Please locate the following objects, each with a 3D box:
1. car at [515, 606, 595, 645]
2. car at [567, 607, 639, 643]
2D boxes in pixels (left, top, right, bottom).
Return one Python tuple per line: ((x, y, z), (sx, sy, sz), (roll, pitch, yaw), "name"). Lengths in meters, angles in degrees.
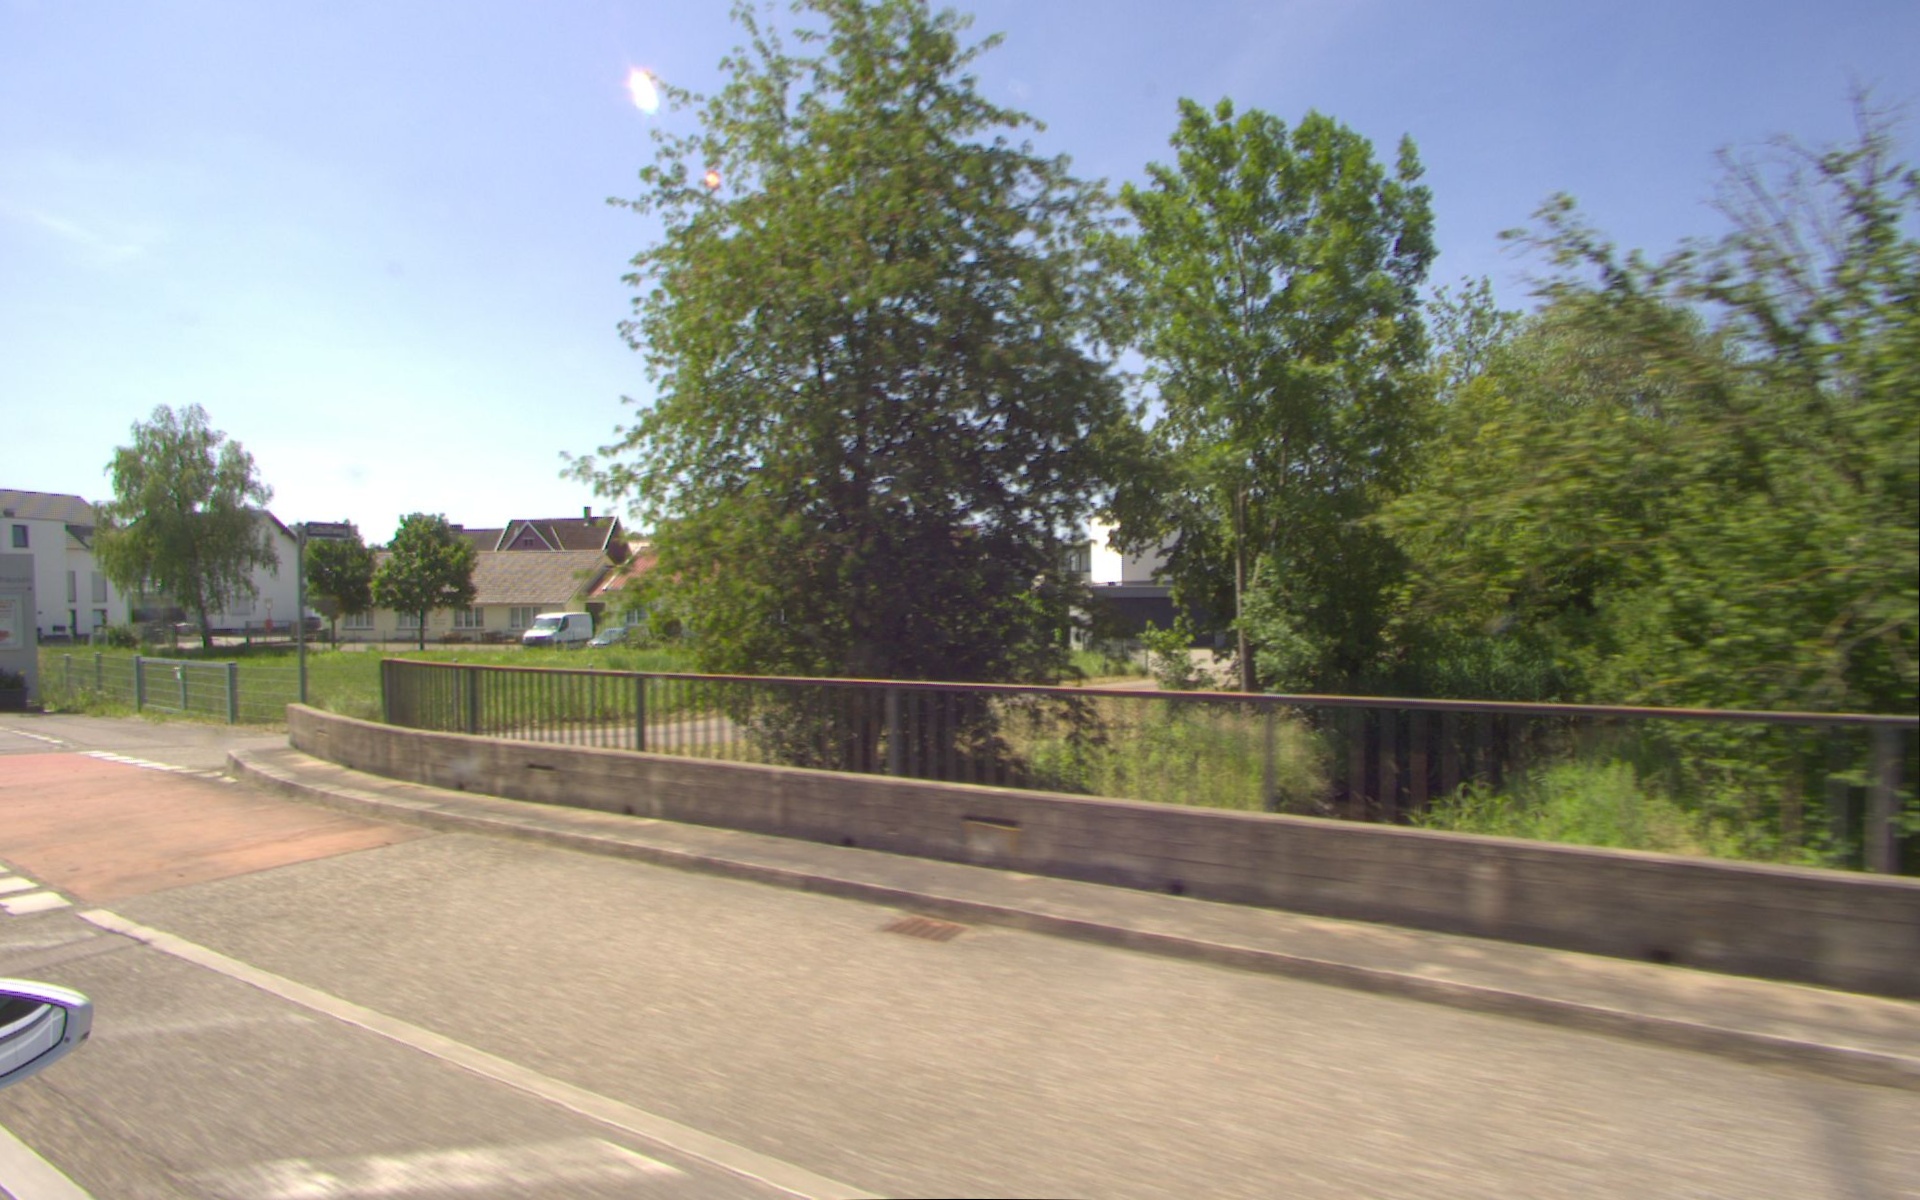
((-23.887, 1.529, 59.273), (2.172, 2.229, 5.186), (0, -2, 6), "car")
((-21.001, 1.487, 59.143), (2.030, 2.039, 4.934), (-1, -2, 6), "car")
